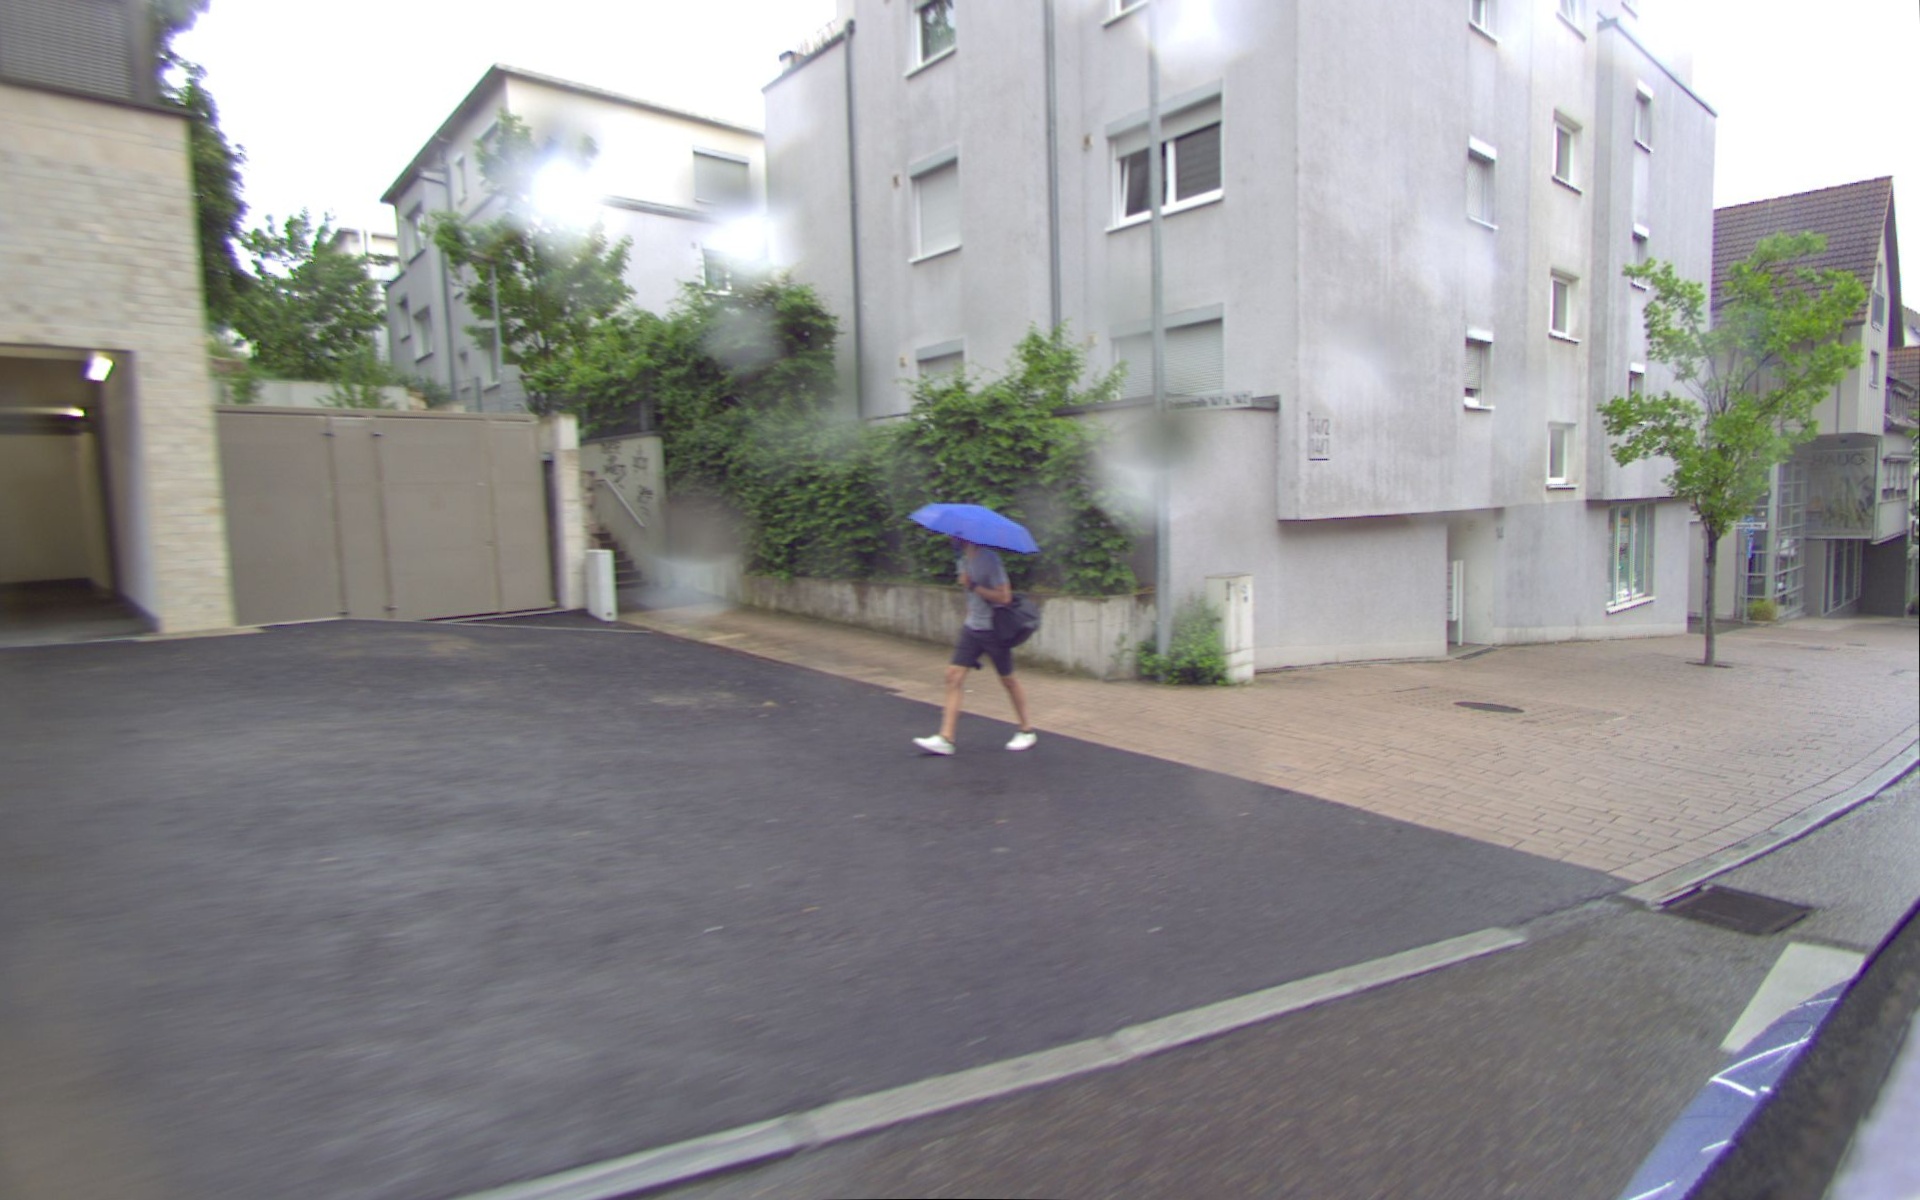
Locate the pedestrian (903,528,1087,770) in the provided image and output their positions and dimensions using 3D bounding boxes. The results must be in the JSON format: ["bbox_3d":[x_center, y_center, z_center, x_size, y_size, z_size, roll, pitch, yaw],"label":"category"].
[{"bbox_3d":[0.246,0.299,7.193,1.019,1.560,0.738,-1,5,-38],"label":"pedestrian"}]
